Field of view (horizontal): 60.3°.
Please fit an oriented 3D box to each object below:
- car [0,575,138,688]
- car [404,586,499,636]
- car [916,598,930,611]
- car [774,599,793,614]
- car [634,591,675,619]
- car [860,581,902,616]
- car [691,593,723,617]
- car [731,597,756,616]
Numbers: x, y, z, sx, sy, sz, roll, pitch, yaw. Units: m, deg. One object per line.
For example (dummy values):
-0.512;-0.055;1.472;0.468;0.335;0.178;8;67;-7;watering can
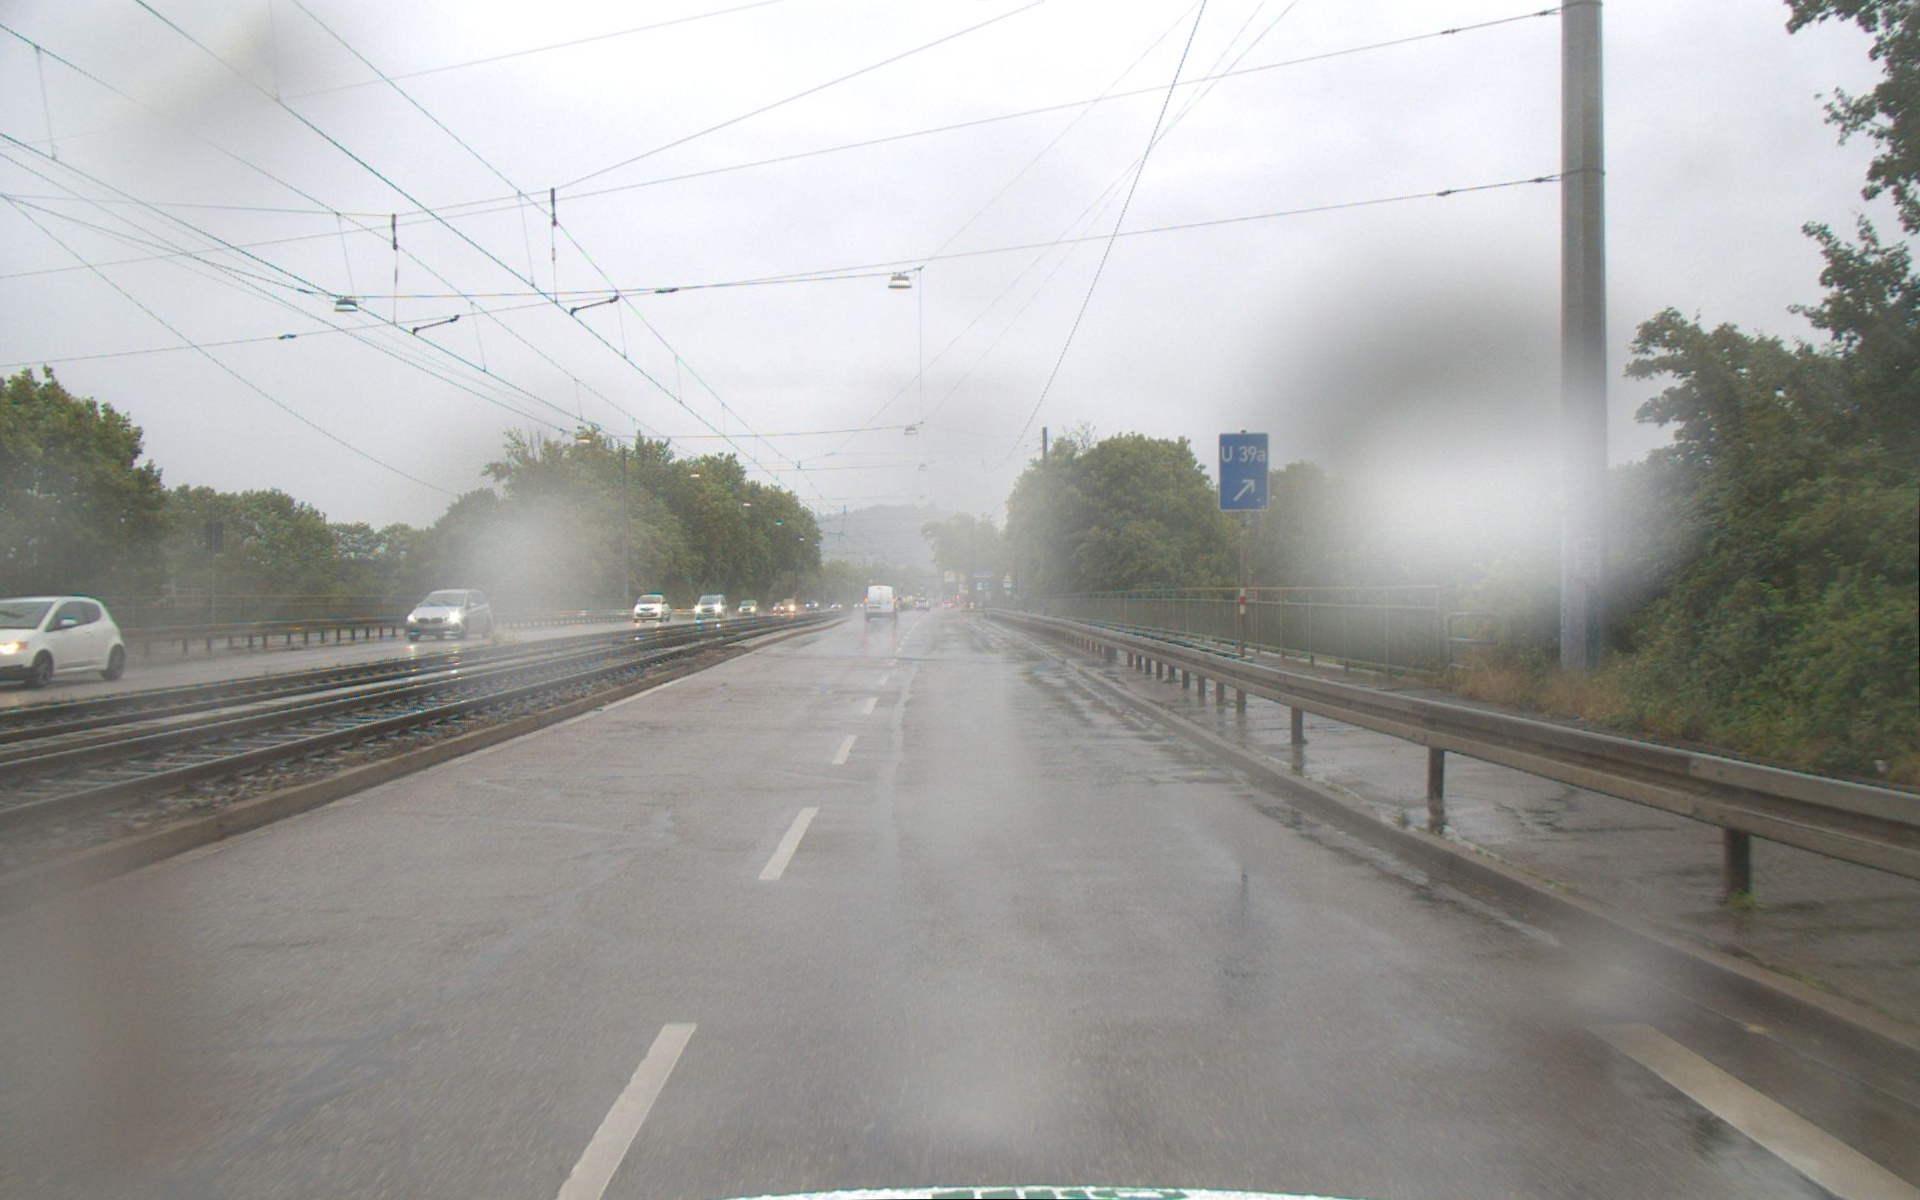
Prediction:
-15.964;0.471;28.424;1.719;1.741;3.999;2;1;-1;car
-16.516;0.339;53.919;1.761;1.478;4.194;2;1;0;car
-4.790;0.607;212.842;1.708;1.534;3.699;2;1;-1;car
-19.457;0.670;182.140;1.708;1.534;3.699;2;1;-1;car
-17.607;0.272;95.438;1.708;1.534;3.699;2;1;-1;car
-4.117;-0.119;86.941;1.948;1.713;3.740;2;1;0;car
-17.893;0.329;117.049;1.708;1.534;3.699;2;1;-1;car
-18.703;0.538;142.879;1.708;1.534;3.699;2;1;-1;car
